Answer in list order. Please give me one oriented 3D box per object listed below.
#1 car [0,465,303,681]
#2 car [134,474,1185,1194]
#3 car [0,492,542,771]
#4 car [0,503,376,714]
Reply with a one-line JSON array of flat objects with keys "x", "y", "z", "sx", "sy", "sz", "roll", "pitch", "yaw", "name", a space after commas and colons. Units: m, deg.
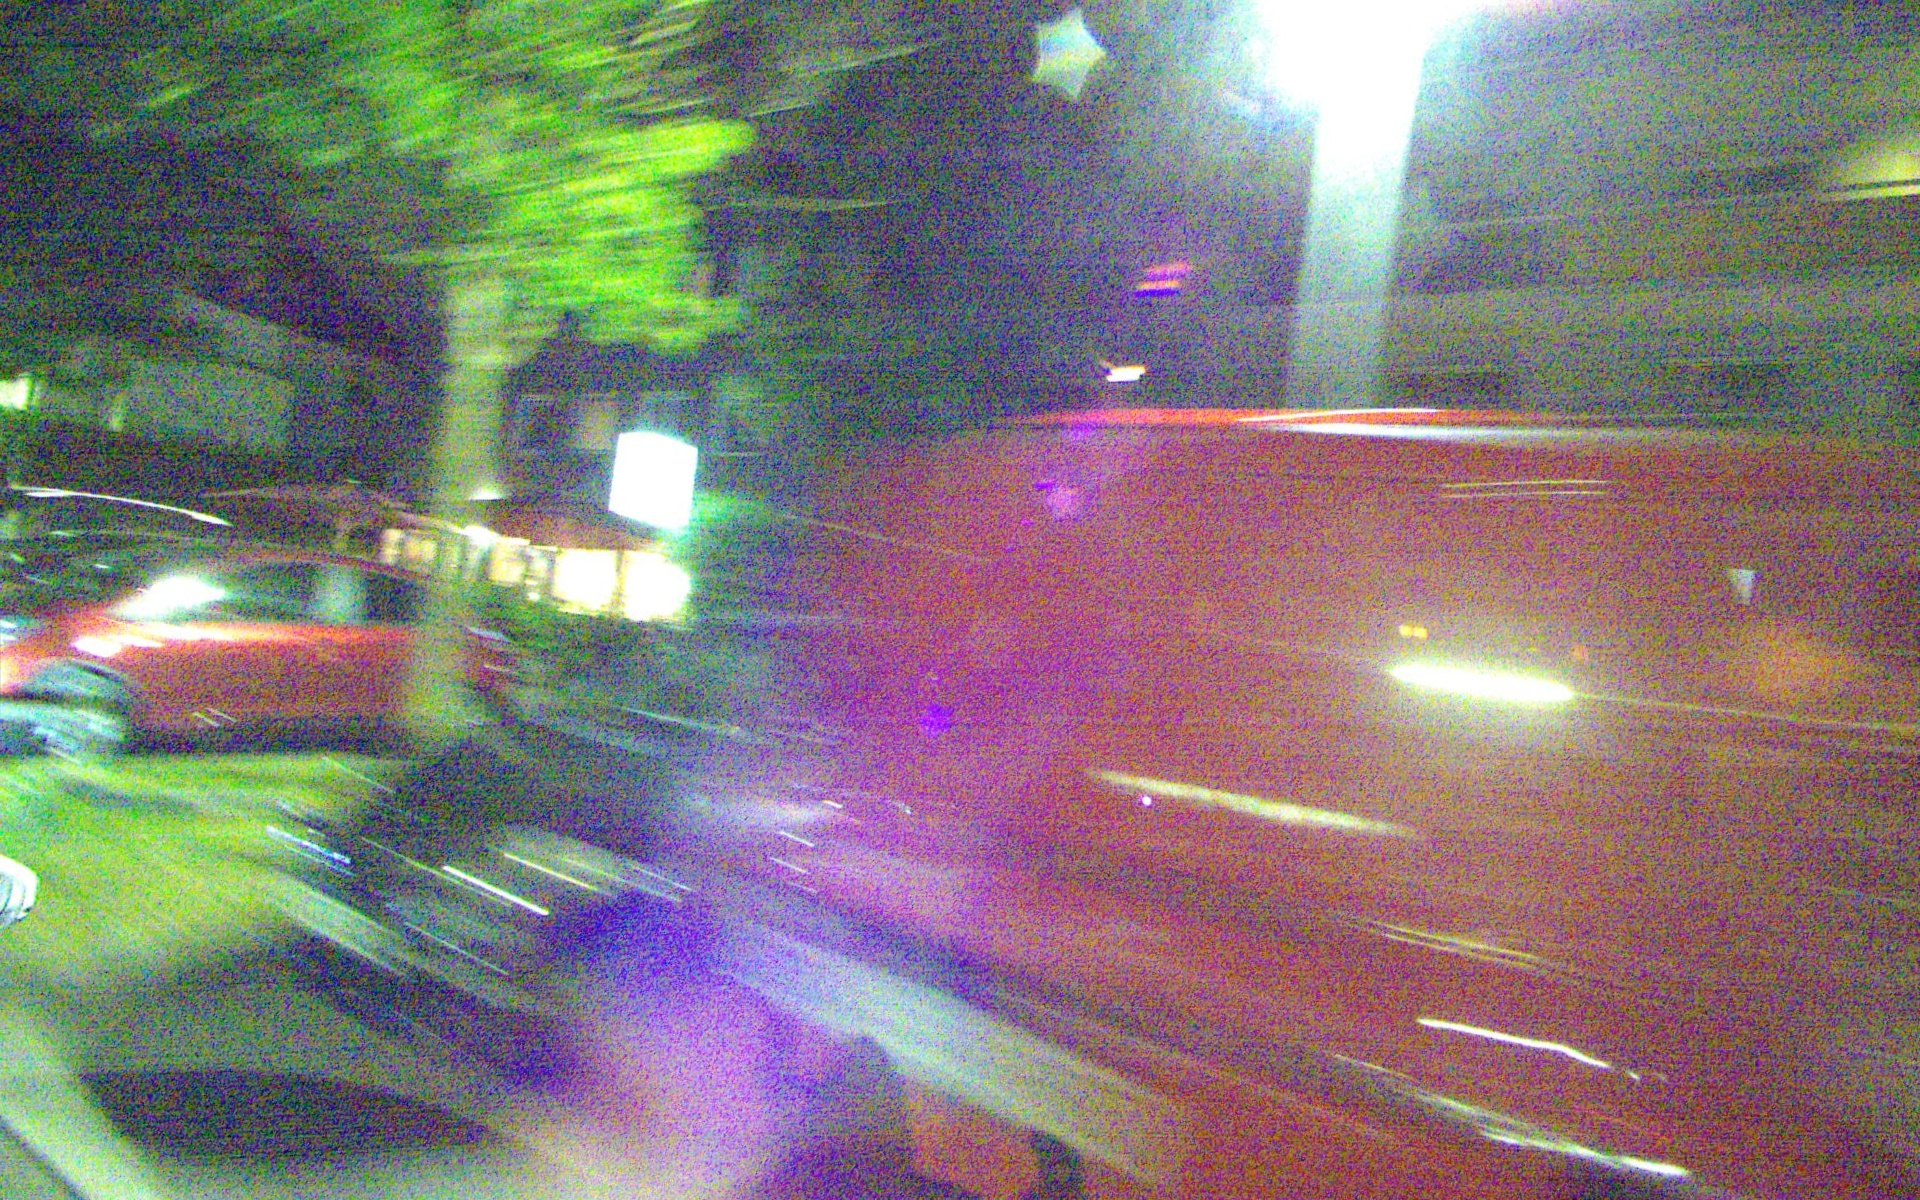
[{"x": -9.483, "y": -0.367, "z": 10.001, "sx": 2.000, "sy": 1.836, "sz": 4.360, "roll": 7, "pitch": -3, "yaw": 36, "name": "car"}, {"x": -0.768, "y": 0.683, "z": 4.415, "sx": 1.956, "sy": 1.568, "sz": 3.922, "roll": 7, "pitch": -3, "yaw": 35, "name": "car"}, {"x": -5.375, "y": 0.268, "z": 7.274, "sx": 1.823, "sy": 1.530, "sz": 3.927, "roll": 6, "pitch": -3, "yaw": 30, "name": "car"}, {"x": -7.531, "y": 0.047, "z": 8.566, "sx": 1.822, "sy": 1.530, "sz": 3.929, "roll": 7, "pitch": -3, "yaw": 28, "name": "car"}]
